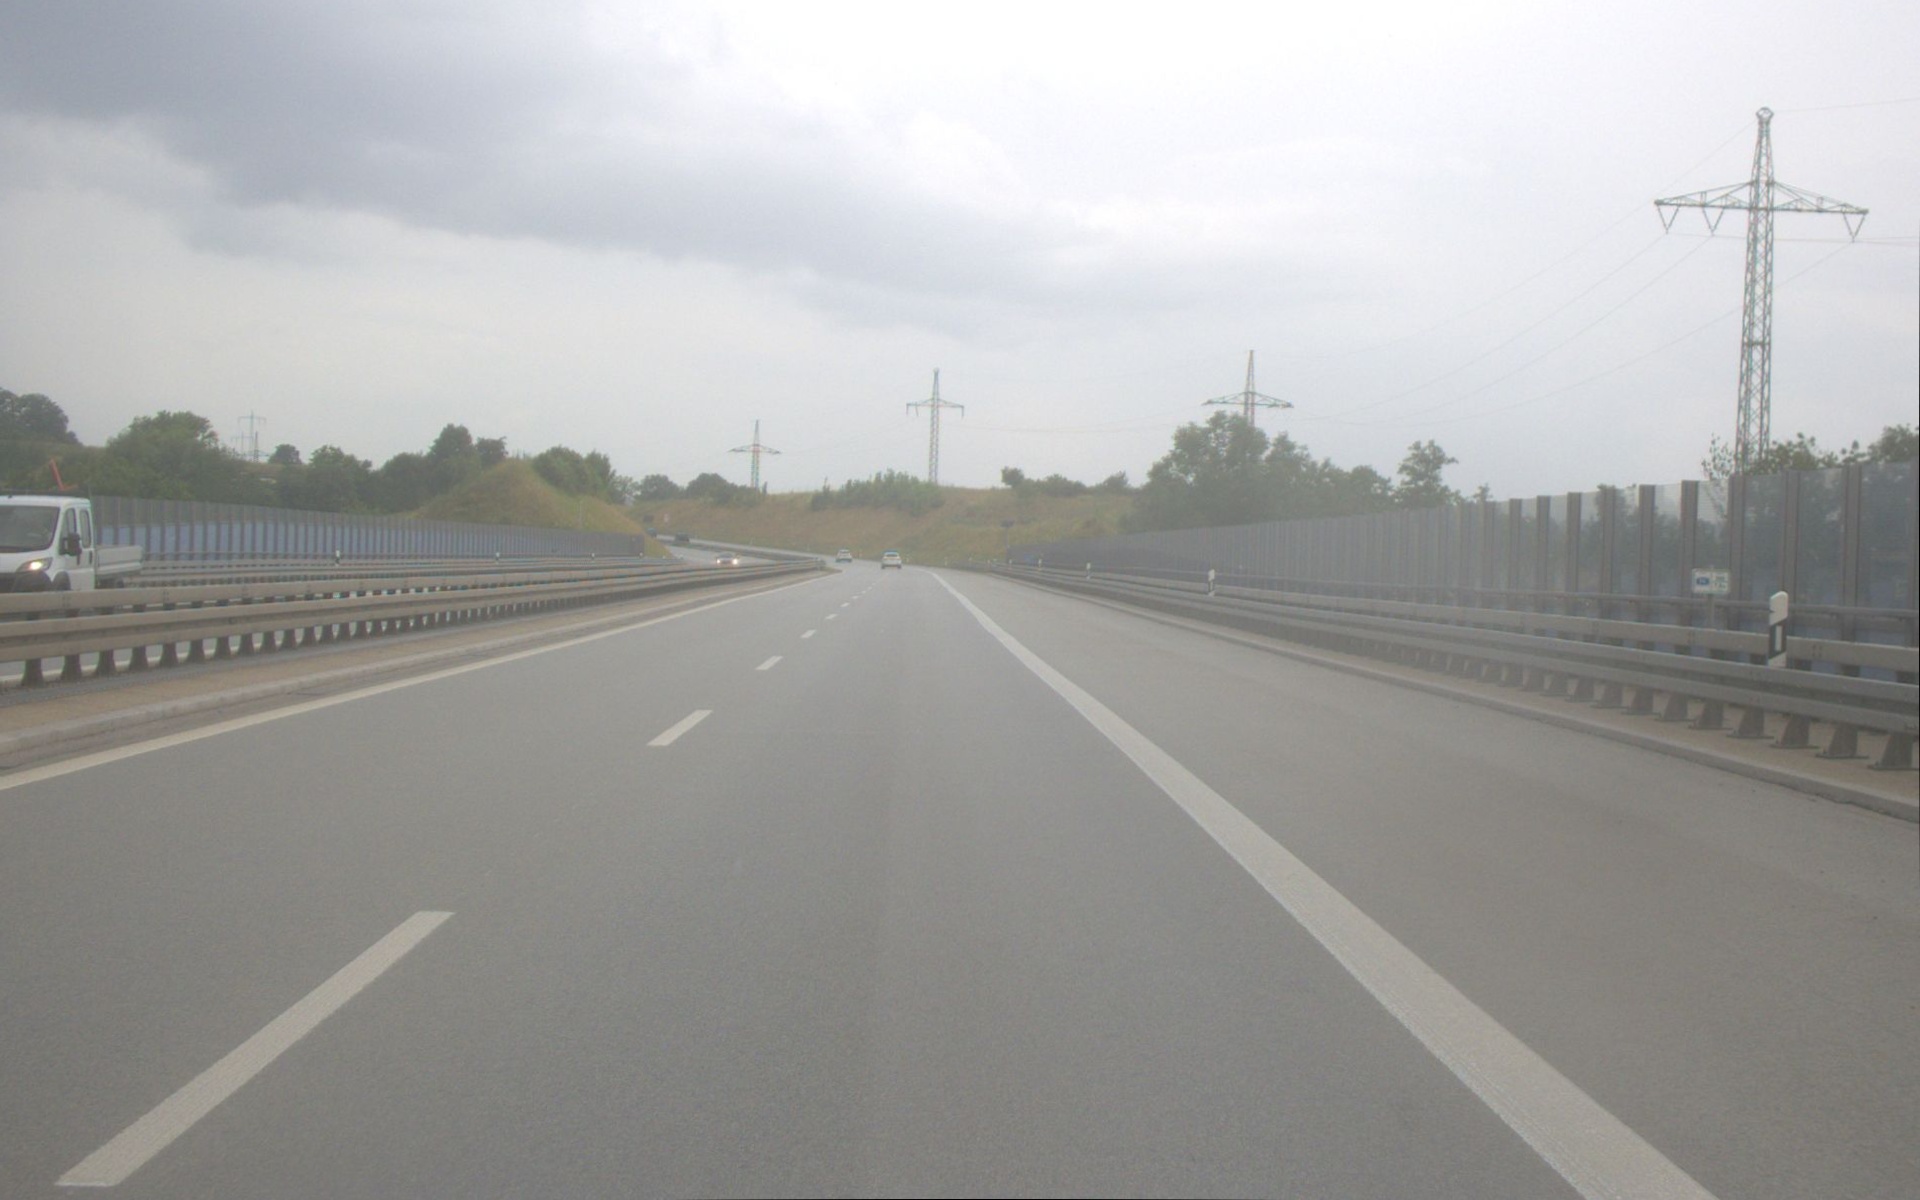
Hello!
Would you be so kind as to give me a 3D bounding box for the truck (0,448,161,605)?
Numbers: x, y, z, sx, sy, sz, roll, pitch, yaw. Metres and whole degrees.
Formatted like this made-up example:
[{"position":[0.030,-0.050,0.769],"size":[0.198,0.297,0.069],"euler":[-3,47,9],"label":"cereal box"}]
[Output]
[{"position":[-15.255,-1.206,57.121],"size":[2.272,2.423,7.452],"euler":[1,1,-1],"label":"truck"}]
